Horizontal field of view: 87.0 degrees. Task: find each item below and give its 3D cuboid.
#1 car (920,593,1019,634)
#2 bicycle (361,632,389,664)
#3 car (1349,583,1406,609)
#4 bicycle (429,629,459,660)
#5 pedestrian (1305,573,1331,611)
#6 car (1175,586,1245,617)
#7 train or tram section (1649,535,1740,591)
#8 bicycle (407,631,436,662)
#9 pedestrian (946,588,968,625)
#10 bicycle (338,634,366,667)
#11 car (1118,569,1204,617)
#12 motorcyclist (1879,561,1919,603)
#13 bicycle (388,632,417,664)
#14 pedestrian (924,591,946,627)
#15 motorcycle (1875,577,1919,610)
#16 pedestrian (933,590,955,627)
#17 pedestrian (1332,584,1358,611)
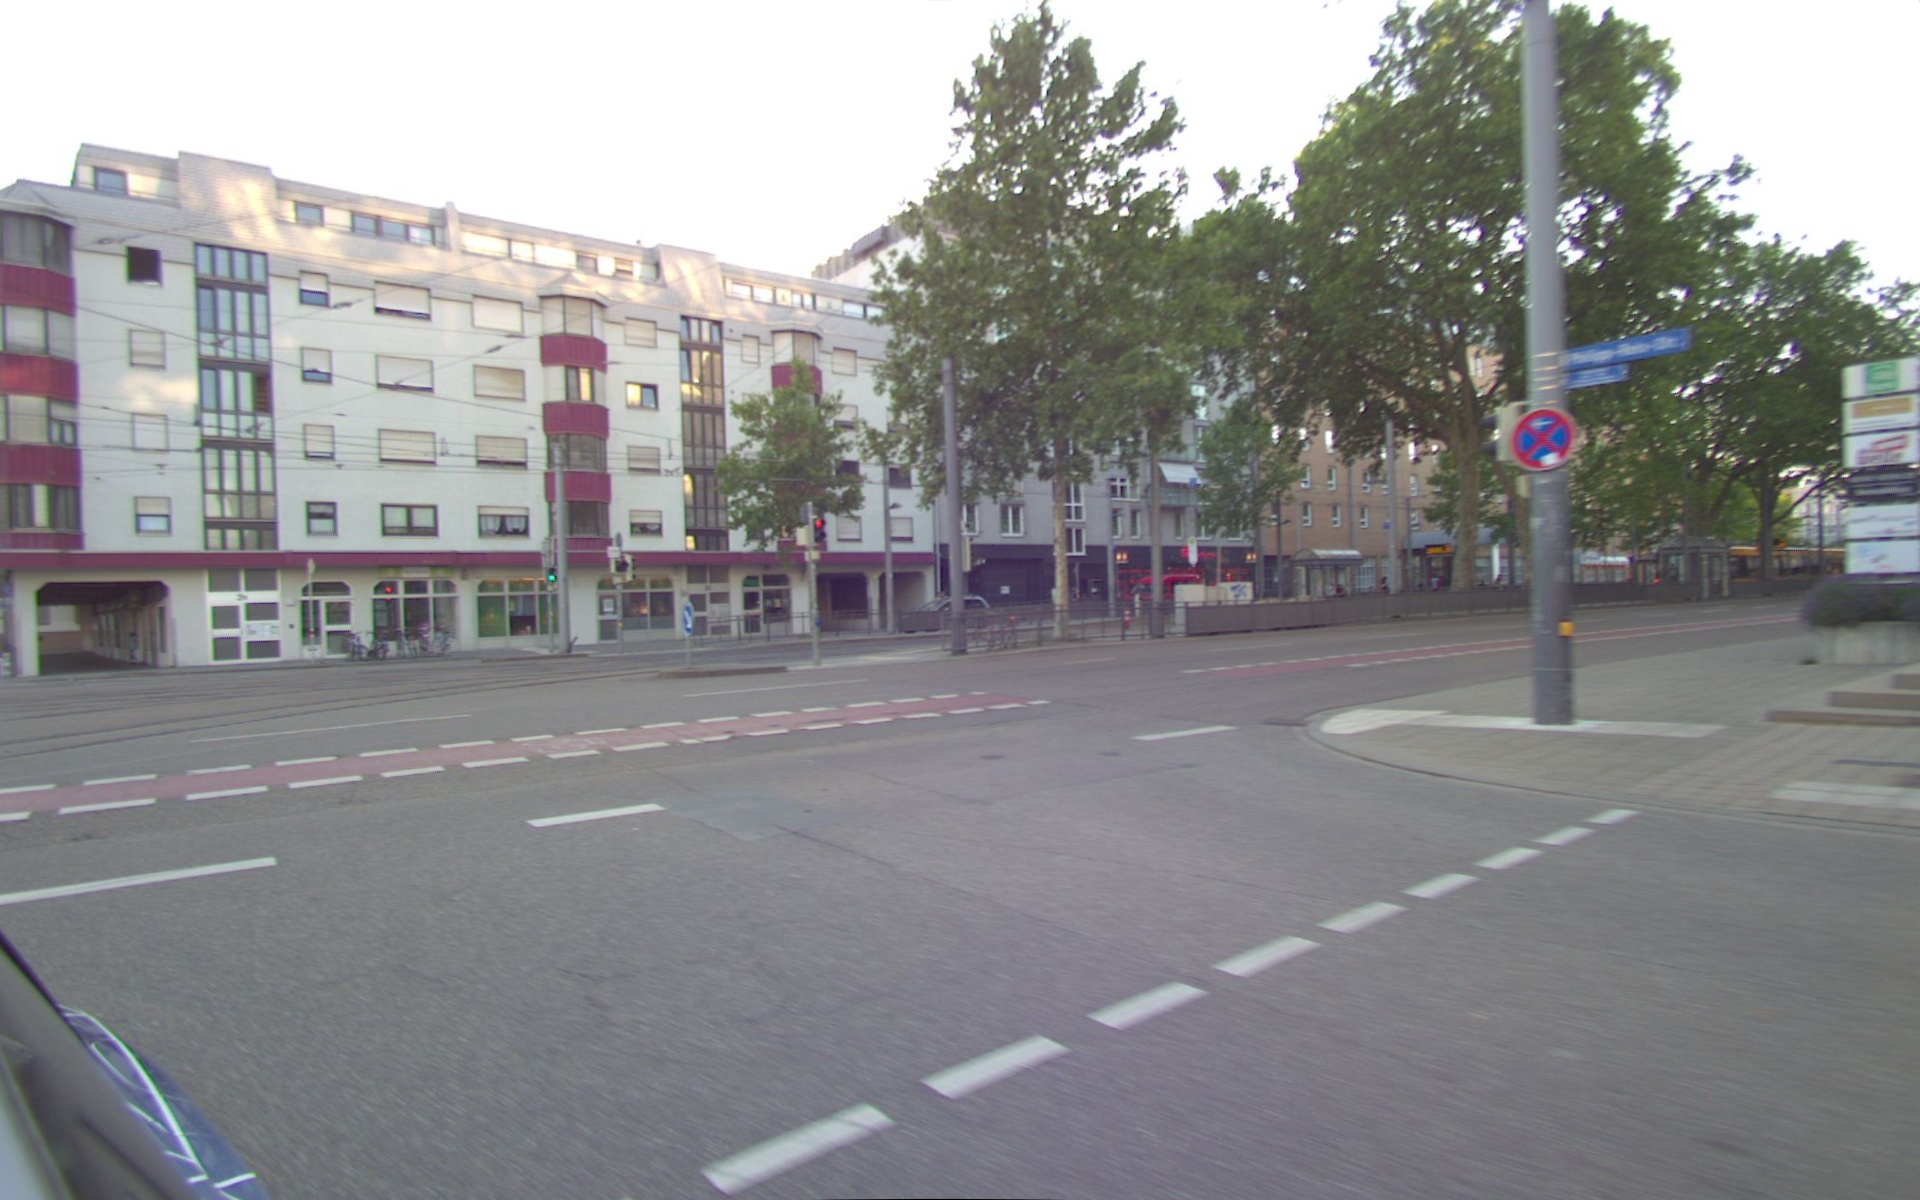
[{"bbox_3d":[0.438,0.565,43.672,4.035,1.608,1.670,-2,0,-37],"label":"car"},{"bbox_3d":[-19.906,1.625,34.439,0.507,1.054,1.906,-2,-1,-39],"label":"bicycle"},{"bbox_3d":[28.144,-0.256,68.240,4.035,1.608,1.670,-2,0,-37],"label":"car"},{"bbox_3d":[-18.144,1.564,35.549,0.507,1.054,1.906,-2,-1,-39],"label":"bicycle"},{"bbox_3d":[18.987,-0.412,53.681,0.796,1.938,0.940,-2,0,-37],"label":"pedestrian"},{"bbox_3d":[14.227,0.094,57.515,4.035,1.608,1.670,-2,0,-37],"label":"car"},{"bbox_3d":[48.827,-2.472,67.148,10.369,3.414,2.342,-2,0,-40],"label":"train or tram section"},{"bbox_3d":[-18.802,1.613,35.345,0.507,1.054,1.906,-2,-1,-39],"label":"bicycle"},{"bbox_3d":[-0.152,0.340,52.004,0.822,1.820,0.693,-2,0,-35],"label":"pedestrian"},{"bbox_3d":[-20.449,1.671,34.037,0.507,1.054,1.906,-2,-1,-39],"label":"bicycle"},{"bbox_3d":[11.636,-0.433,58.440,4.999,2.560,1.856,-2,0,-36],"label":"car"},{"bbox_3d":[36.790,-0.708,39.650,1.011,1.594,0.944,-2,0,-35],"label":"motorcyclist"},{"bbox_3d":[-19.289,1.646,35.012,0.507,1.054,1.906,-2,-1,-39],"label":"bicycle"},{"bbox_3d":[-1.262,0.474,51.677,0.822,1.820,0.693,-2,0,-35],"label":"pedestrian"},{"bbox_3d":[36.810,-0.263,39.646,2.136,1.236,0.944,-2,0,-35],"label":"motorcycle"},{"bbox_3d":[-0.800,0.423,50.993,0.822,1.820,0.693,-2,0,-35],"label":"pedestrian"},{"bbox_3d":[21.328,-0.122,56.030,0.982,1.464,0.940,-2,0,-37],"label":"pedestrian"}]
